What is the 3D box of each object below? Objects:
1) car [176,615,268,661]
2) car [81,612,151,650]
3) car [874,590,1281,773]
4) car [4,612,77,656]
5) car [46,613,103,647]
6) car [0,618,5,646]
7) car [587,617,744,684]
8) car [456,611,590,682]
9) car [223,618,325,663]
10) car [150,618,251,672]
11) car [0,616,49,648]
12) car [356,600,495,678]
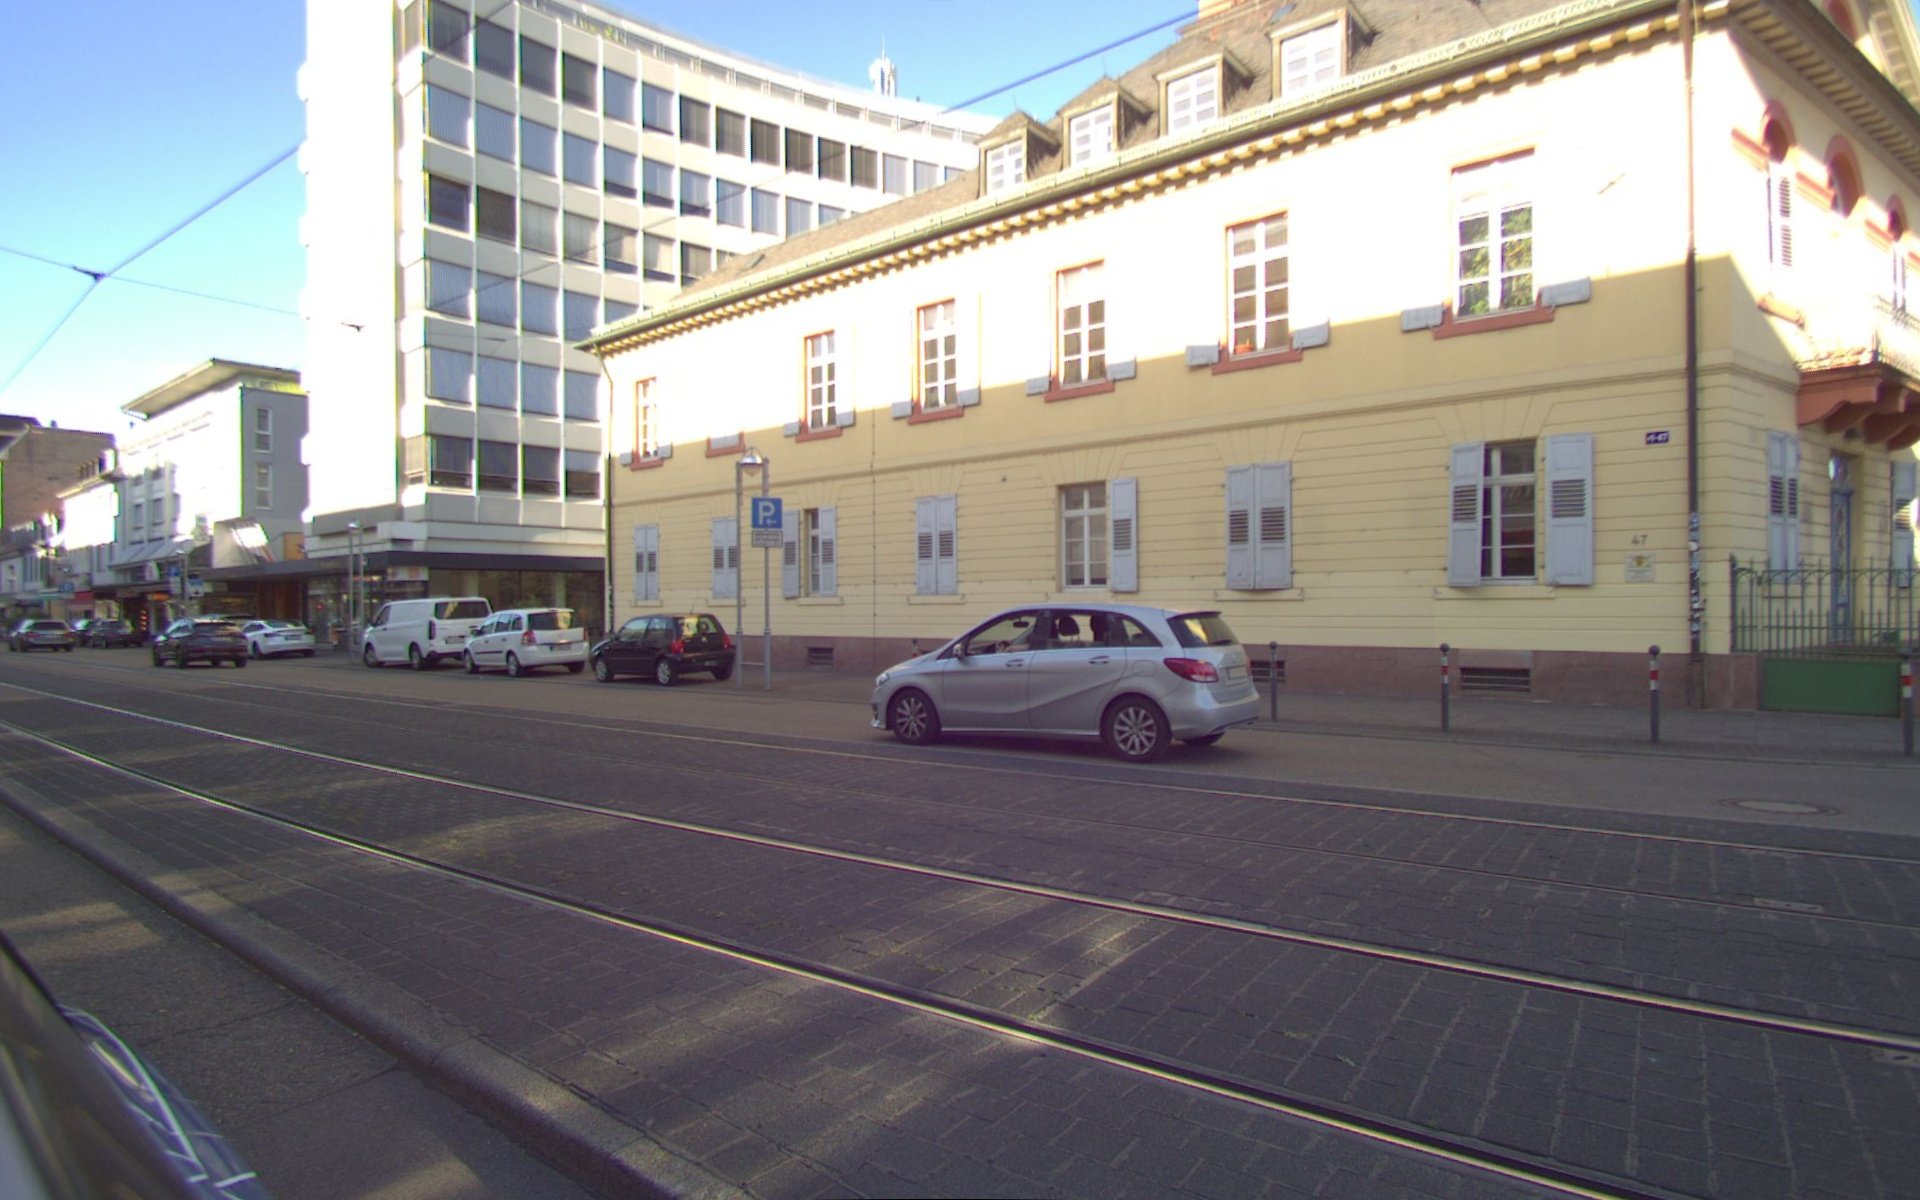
[{"bbox_3d":[-29.876,1.501,40.944,4.103,1.717,1.975,-1,0,38],"label":"car"},{"bbox_3d":[-43.766,1.587,52.464,3.995,1.874,1.974,-1,0,38],"label":"car"},{"bbox_3d":[1.152,0.758,10.818,3.993,1.609,1.740,-1,-1,37],"label":"car"},{"bbox_3d":[-42.490,1.518,46.748,3.851,1.908,1.891,-1,0,38],"label":"car"},{"bbox_3d":[-50.414,1.704,57.599,3.995,1.896,1.768,-1,-1,38],"label":"car"},{"bbox_3d":[-71.460,2.335,74.056,3.998,2.029,1.973,-2,-1,41],"label":"car"},{"bbox_3d":[-6.280,1.017,21.475,3.210,1.263,1.667,-1,0,39],"label":"car"},{"bbox_3d":[-10.999,1.101,25.325,4.005,1.621,1.619,-1,0,43],"label":"car"},{"bbox_3d":[-25.561,1.453,37.645,4.369,1.541,1.974,-1,0,39],"label":"car"},{"bbox_3d":[-23.766,1.340,31.605,4.001,1.519,1.937,-1,0,44],"label":"car"},{"bbox_3d":[-63.091,2.125,68.057,3.996,2.058,2.172,-1,-1,39],"label":"car"},{"bbox_3d":[-15.341,1.074,28.942,4.619,2.029,2.014,-2,-1,41],"label":"car"}]
